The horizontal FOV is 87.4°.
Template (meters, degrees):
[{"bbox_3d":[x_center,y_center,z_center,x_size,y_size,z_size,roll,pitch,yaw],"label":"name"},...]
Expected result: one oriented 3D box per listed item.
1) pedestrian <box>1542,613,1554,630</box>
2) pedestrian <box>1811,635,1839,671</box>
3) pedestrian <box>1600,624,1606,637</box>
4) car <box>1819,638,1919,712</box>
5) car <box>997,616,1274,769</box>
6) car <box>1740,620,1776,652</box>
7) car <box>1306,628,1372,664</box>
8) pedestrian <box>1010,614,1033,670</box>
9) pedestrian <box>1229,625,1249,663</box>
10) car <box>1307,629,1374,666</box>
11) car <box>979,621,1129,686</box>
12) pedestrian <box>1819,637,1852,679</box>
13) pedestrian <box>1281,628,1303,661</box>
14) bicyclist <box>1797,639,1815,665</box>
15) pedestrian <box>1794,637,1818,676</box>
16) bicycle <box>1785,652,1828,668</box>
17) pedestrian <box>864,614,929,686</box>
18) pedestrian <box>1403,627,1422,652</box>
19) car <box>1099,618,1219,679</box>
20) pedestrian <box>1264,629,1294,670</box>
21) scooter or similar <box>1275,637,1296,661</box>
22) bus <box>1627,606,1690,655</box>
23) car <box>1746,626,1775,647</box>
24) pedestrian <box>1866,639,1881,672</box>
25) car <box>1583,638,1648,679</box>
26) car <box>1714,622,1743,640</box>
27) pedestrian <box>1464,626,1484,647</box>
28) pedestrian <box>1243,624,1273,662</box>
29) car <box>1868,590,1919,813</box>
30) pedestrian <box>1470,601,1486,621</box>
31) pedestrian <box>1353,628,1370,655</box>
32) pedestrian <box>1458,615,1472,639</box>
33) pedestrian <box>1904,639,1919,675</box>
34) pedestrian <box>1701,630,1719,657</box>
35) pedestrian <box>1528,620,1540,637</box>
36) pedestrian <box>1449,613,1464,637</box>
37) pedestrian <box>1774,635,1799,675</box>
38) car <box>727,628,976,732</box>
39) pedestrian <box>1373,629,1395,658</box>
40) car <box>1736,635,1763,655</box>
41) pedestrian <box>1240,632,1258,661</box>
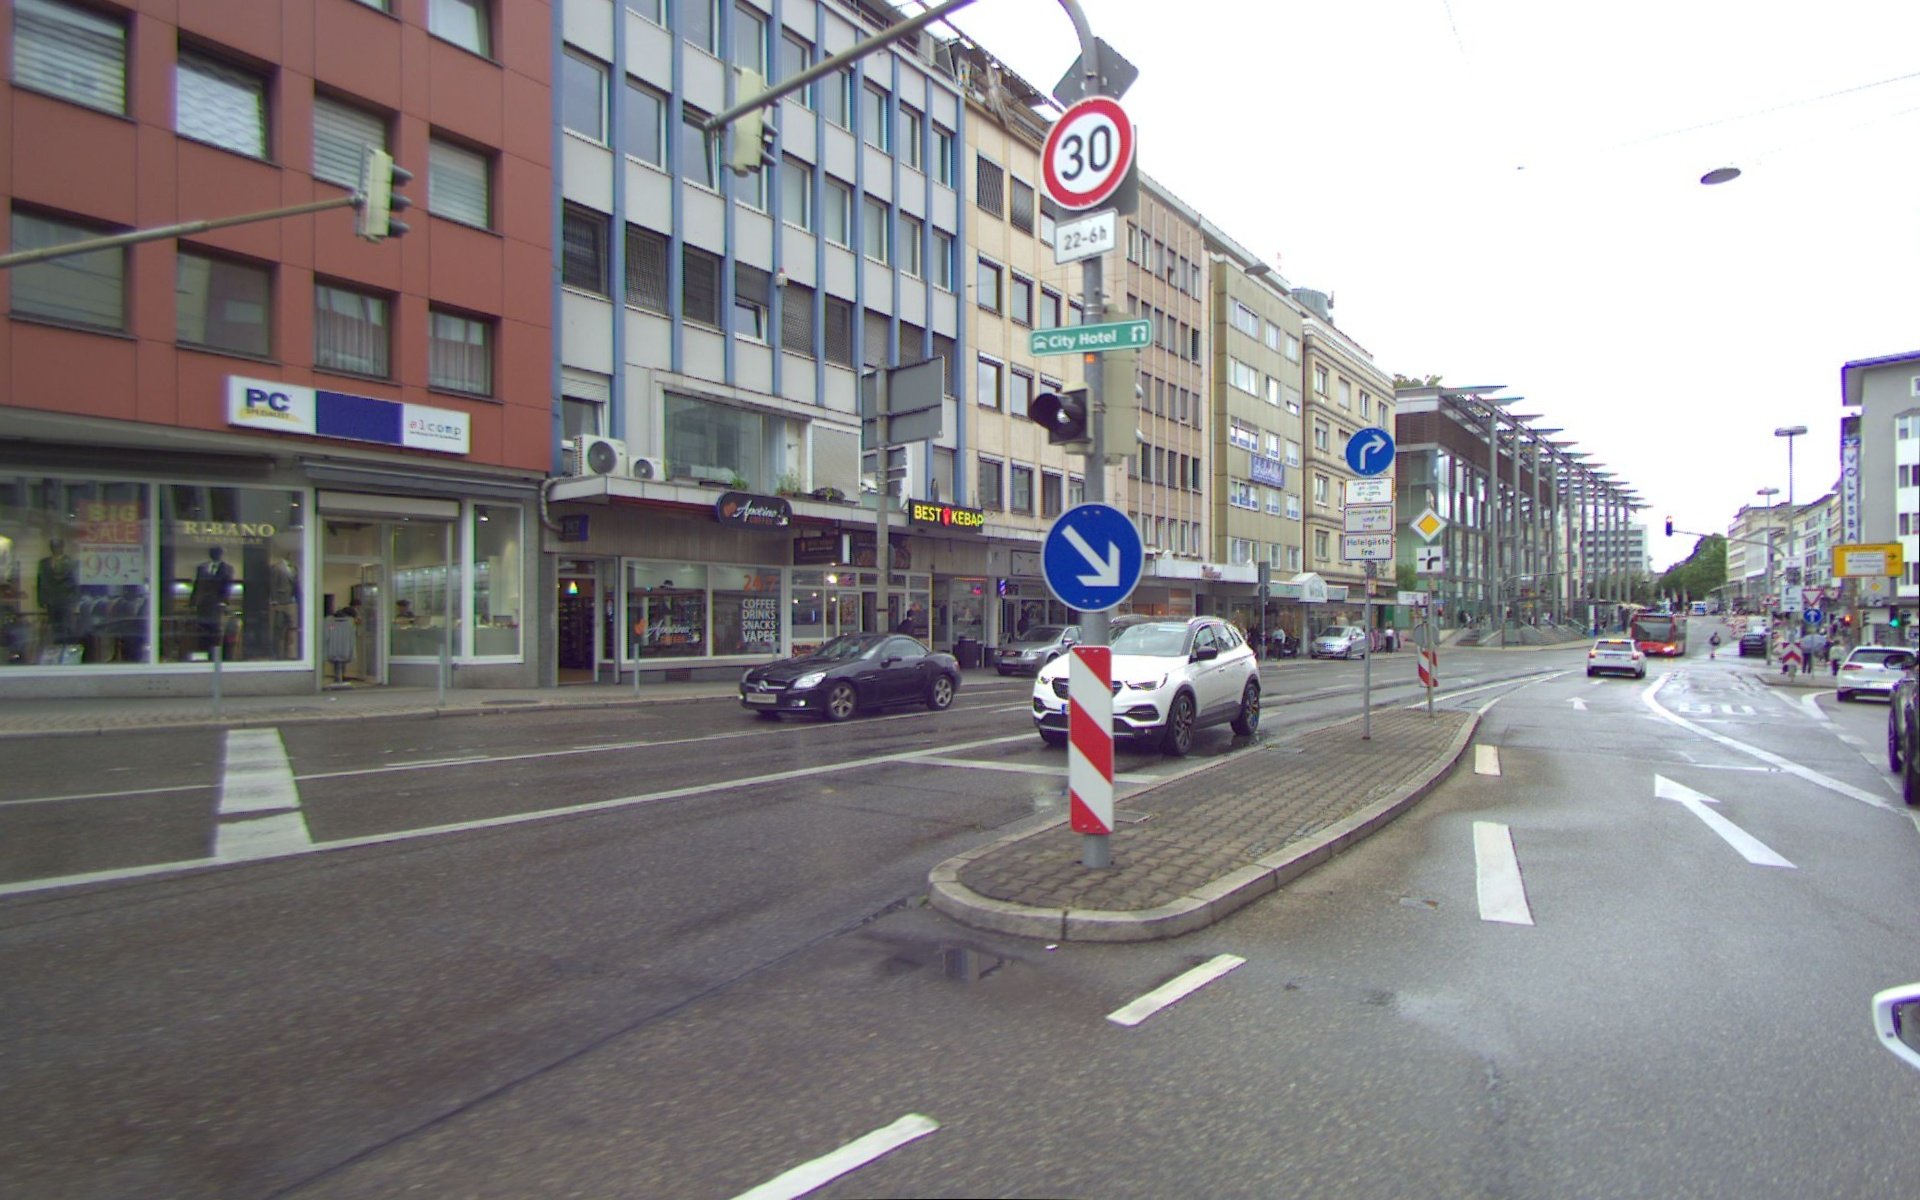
[{"bbox_3d":[61.303,2.253,104.643,1.024,1.735,1.005,1,-1,33],"label":"pedestrian"},{"bbox_3d":[46.357,2.829,53.845,0.995,1.811,0.851,2,0,32],"label":"pedestrian"},{"bbox_3d":[69.806,3.311,109.046,0.503,1.358,0.418,2,0,35],"label":"pedestrian"},{"bbox_3d":[23.898,1.882,26.297,1.929,1.595,3.976,2,1,43],"label":"car"},{"bbox_3d":[2.480,1.031,13.168,1.966,1.572,4.416,2,0,33],"label":"car"},{"bbox_3d":[79.510,3.557,100.105,2.412,2.997,6.132,2,0,36],"label":"car"},{"bbox_3d":[18.358,2.206,48.563,1.680,1.584,4.182,1,-1,40],"label":"car"},{"bbox_3d":[1.923,1.307,31.351,0.440,1.731,0.581,2,1,39],"label":"pedestrian"},{"bbox_3d":[12.068,1.902,43.449,0.634,1.595,0.609,0,-1,39],"label":"pedestrian"},{"bbox_3d":[18.437,2.272,48.590,1.824,1.571,4.382,3,1,37],"label":"car"},{"bbox_3d":[2.772,1.467,28.443,1.842,1.630,4.859,1,-1,39],"label":"car"},{"bbox_3d":[37.272,2.451,42.764,0.968,1.694,0.910,2,0,44],"label":"pedestrian"},{"bbox_3d":[15.786,2.102,47.815,0.658,1.504,1.061,2,1,37],"label":"pedestrian"},{"bbox_3d":[57.542,3.538,68.313,0.617,1.727,0.838,2,-2,-37],"label":"bicyclist"},{"bbox_3d":[38.289,2.568,45.462,0.748,1.714,0.690,2,-2,43],"label":"pedestrian"},{"bbox_3d":[57.533,4.069,68.266,0.688,1.006,2.122,2,-2,-37],"label":"bicycle"},{"bbox_3d":[-1.615,1.258,25.841,0.939,1.741,1.413,2,1,37],"label":"pedestrian"},{"bbox_3d":[30.448,2.650,67.608,0.861,1.607,1.148,0,-2,41],"label":"pedestrian"},{"bbox_3d":[6.712,1.581,33.529,1.826,1.851,4.942,1,-1,39],"label":"car"},{"bbox_3d":[14.165,2.164,44.582,0.940,1.737,1.086,2,1,37],"label":"pedestrian"},{"bbox_3d":[15.251,2.300,47.109,0.727,1.068,0.698,2,1,37],"label":"scooter or similar"},{"bbox_3d":[54.429,2.418,77.963,2.884,3.364,18.402,1,-1,38],"label":"bus"},{"bbox_3d":[75.580,3.471,94.882,1.836,1.850,4.090,2,0,36],"label":"car"},{"bbox_3d":[47.562,2.886,52.290,0.498,1.691,0.563,2,-1,-45],"label":"pedestrian"},{"bbox_3d":[25.410,2.229,38.884,1.769,1.434,4.613,0,-1,37],"label":"car"},{"bbox_3d":[83.760,3.425,109.476,2.392,1.804,5.134,2,0,38],"label":"car"},{"bbox_3d":[42.122,2.990,82.369,0.994,1.735,1.036,2,-1,-24],"label":"pedestrian"},{"bbox_3d":[13.675,1.958,46.057,0.940,1.718,1.082,2,1,37],"label":"pedestrian"},{"bbox_3d":[10.114,0.878,9.524,2.063,1.841,4.769,0,-1,40],"label":"car"},{"bbox_3d":[44.318,0.934,85.934,1.024,1.735,1.005,1,-1,33],"label":"pedestrian"},{"bbox_3d":[23.575,2.446,58.998,0.775,1.557,0.679,1,-1,37],"label":"pedestrian"},{"bbox_3d":[43.100,2.311,85.734,0.864,2.007,0.846,1,-1,38],"label":"pedestrian"},{"bbox_3d":[49.598,2.968,52.063,0.818,1.802,0.616,2,0,33],"label":"pedestrian"},{"bbox_3d":[54.407,3.148,72.865,0.805,1.912,0.945,2,0,-45],"label":"pedestrian"},{"bbox_3d":[60.418,3.038,105.761,1.024,1.735,1.005,1,-1,33],"label":"pedestrian"},{"bbox_3d":[42.100,2.096,85.162,0.870,2.007,0.971,1,-1,38],"label":"pedestrian"},{"bbox_3d":[36.576,2.429,44.442,0.775,1.734,0.703,2,-1,43],"label":"pedestrian"},{"bbox_3d":[-1.620,1.189,16.275,1.768,1.379,4.047,1,0,36],"label":"car"},{"bbox_3d":[24.773,2.520,58.694,0.829,1.649,0.774,2,0,-5],"label":"pedestrian"},{"bbox_3d":[65.595,3.746,83.426,1.716,1.547,3.982,2,0,39],"label":"car"},{"bbox_3d":[12.992,2.078,45.183,0.527,1.266,0.718,2,1,37],"label":"pedestrian"}]
